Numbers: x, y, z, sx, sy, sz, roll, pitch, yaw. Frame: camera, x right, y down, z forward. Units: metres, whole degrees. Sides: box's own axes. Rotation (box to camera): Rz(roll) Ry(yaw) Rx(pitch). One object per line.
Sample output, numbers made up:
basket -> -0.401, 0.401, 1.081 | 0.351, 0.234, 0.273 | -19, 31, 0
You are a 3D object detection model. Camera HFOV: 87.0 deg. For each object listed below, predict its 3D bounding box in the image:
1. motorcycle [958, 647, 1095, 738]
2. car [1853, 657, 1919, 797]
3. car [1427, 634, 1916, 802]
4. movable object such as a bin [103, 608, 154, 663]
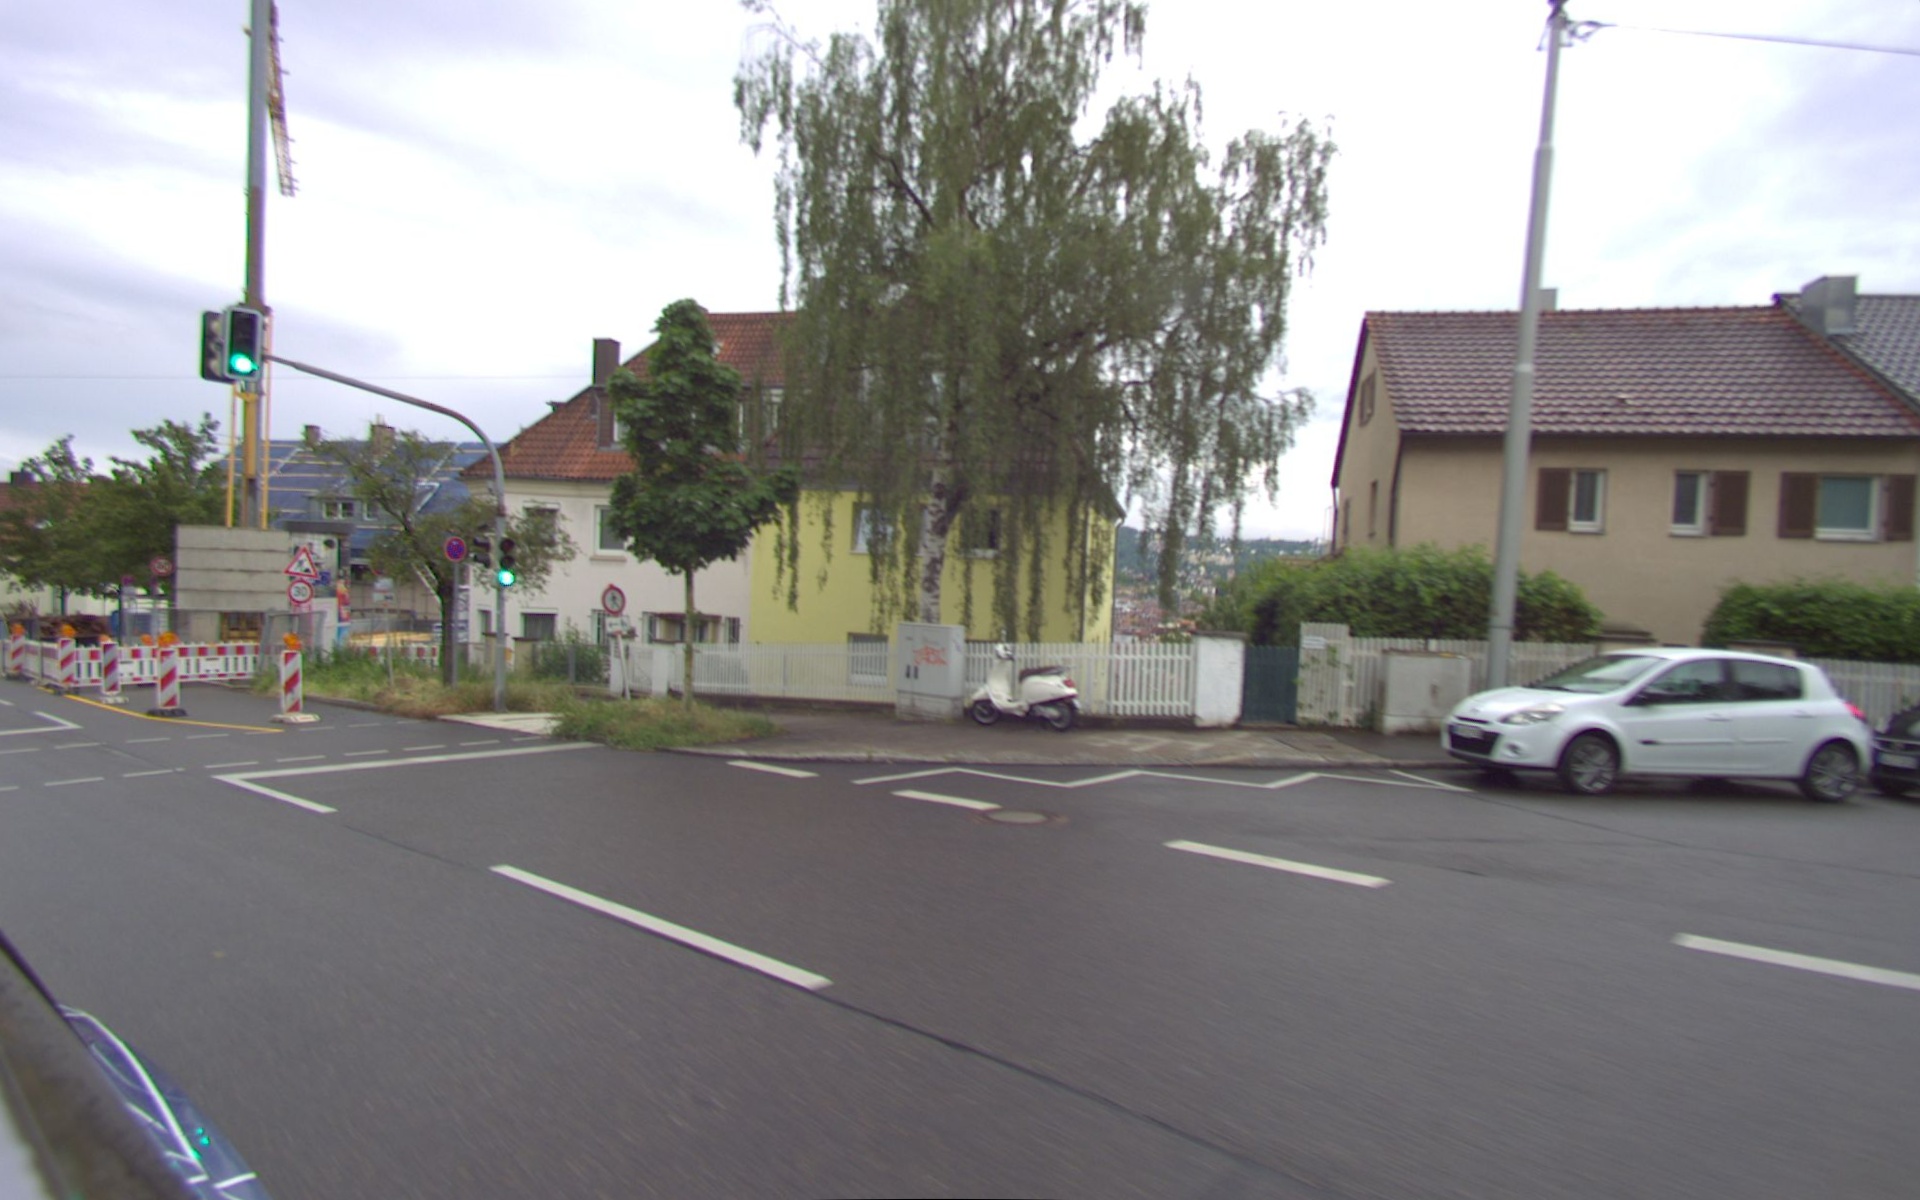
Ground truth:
motorcycle -> 0.873, 1.217, 13.664 | 1.841, 1.139, 0.585 | -2, -2, 39
car -> 11.382, 1.388, 10.391 | 2.890, 1.441, 1.559 | 3, -3, 13
car -> 7.309, 1.191, 10.686 | 3.954, 1.520, 1.689 | 2, -3, -1
movable object such as a bin -> -39.655, 1.668, 48.263 | 1.374, 2.524, 1.309 | -2, 0, 17
